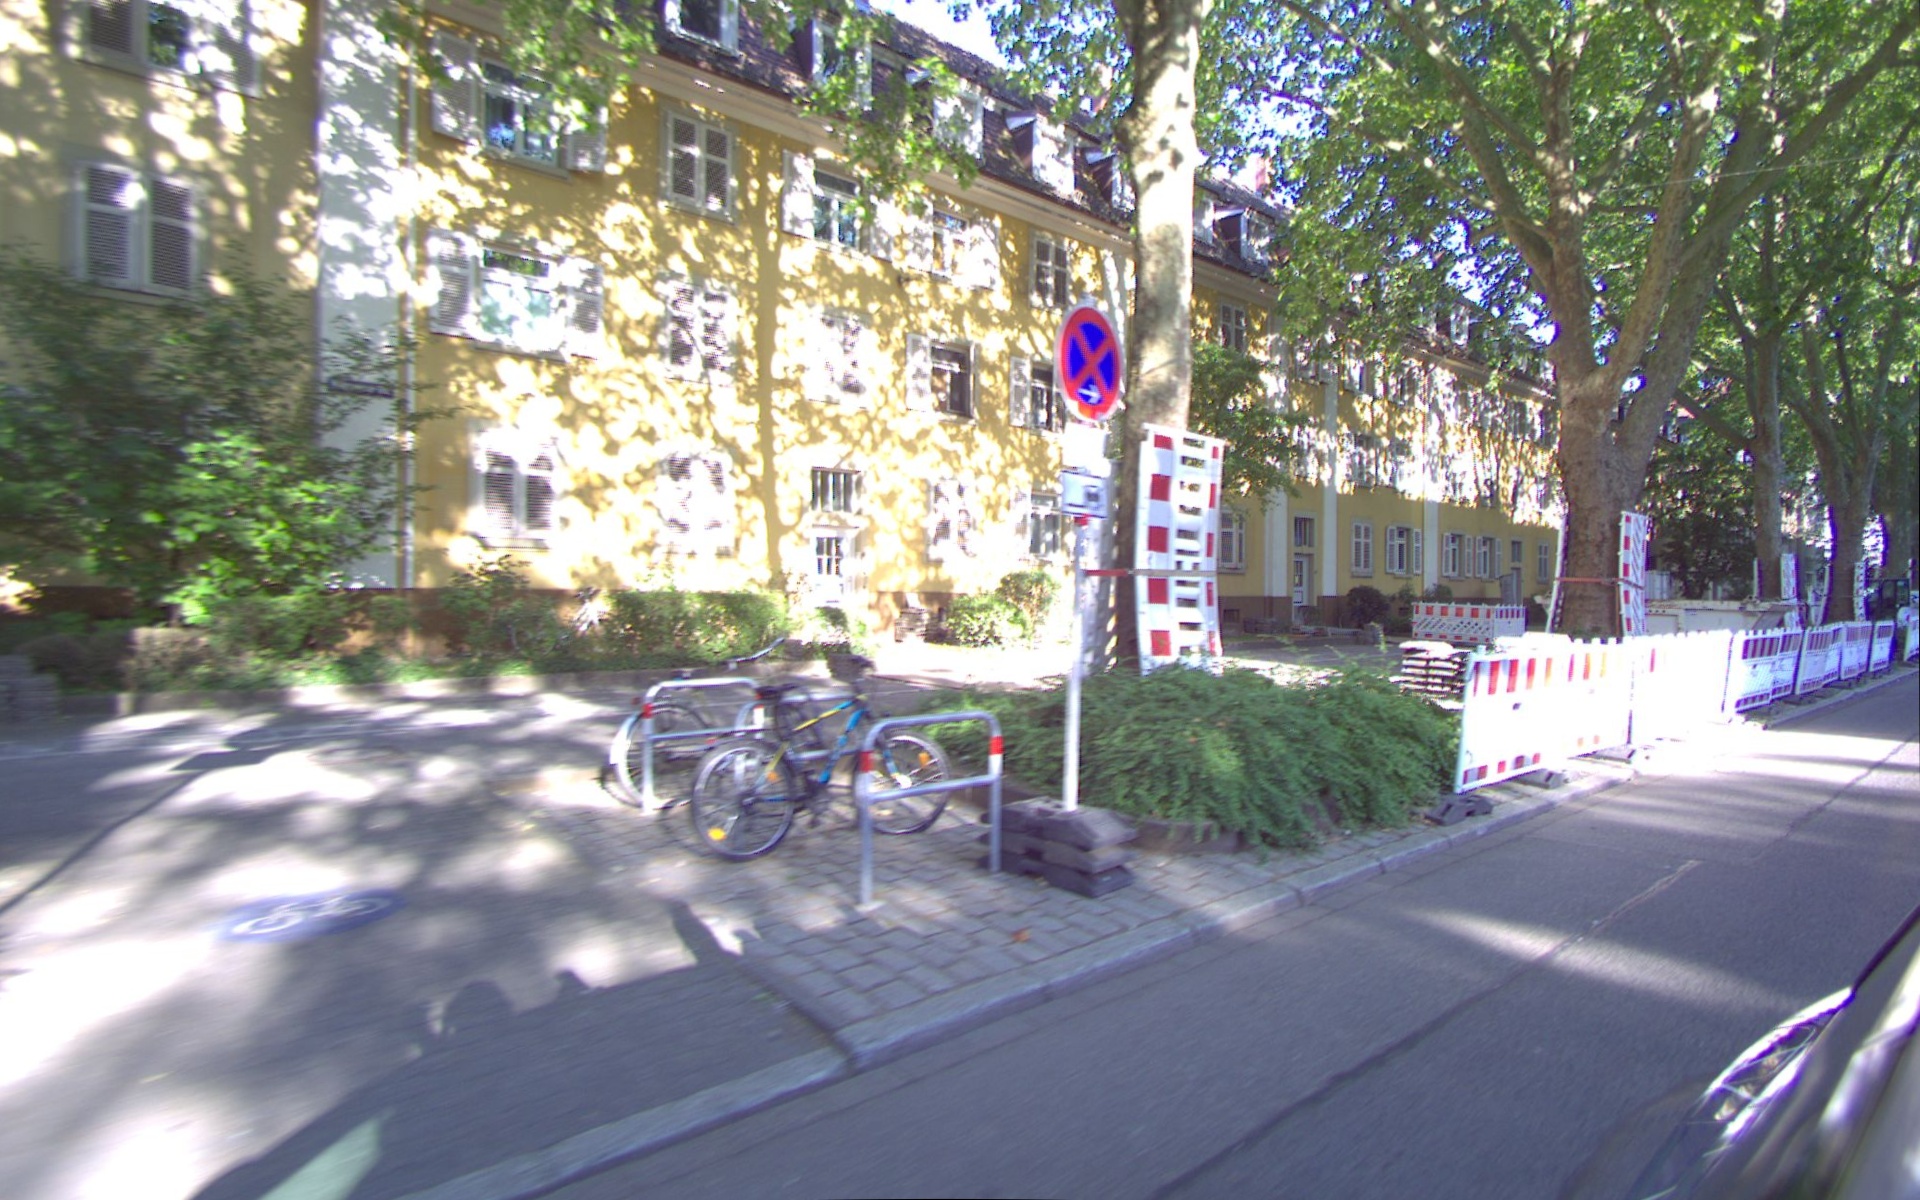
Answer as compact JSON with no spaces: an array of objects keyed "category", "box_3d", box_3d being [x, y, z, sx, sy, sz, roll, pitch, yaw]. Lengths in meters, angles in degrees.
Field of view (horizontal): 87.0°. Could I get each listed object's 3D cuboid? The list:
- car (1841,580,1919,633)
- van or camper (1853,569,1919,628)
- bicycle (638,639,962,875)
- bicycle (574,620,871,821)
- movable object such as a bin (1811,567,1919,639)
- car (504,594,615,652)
[{"category":"car","box_3d":[37.942,0.253,39.707,2.027,2.038,4.844,1,1,-40]},{"category":"van or camper","box_3d":[44.895,-0.068,46.142,2.229,2.662,5.941,-1,2,-38]},{"category":"bicycle","box_3d":[-0.864,0.804,5.813,1.777,1.084,0.636,0,1,-41]},{"category":"bicycle","box_3d":[-1.600,0.750,7.042,1.914,1.169,0.692,0,1,-41]},{"category":"movable object such as a bin","box_3d":[30.250,0.091,33.408,3.210,2.298,1.488,0,0,-7]},{"category":"car","box_3d":[-6.247,0.342,15.822,1.546,0.863,0.445,0,-1,-40]}]
